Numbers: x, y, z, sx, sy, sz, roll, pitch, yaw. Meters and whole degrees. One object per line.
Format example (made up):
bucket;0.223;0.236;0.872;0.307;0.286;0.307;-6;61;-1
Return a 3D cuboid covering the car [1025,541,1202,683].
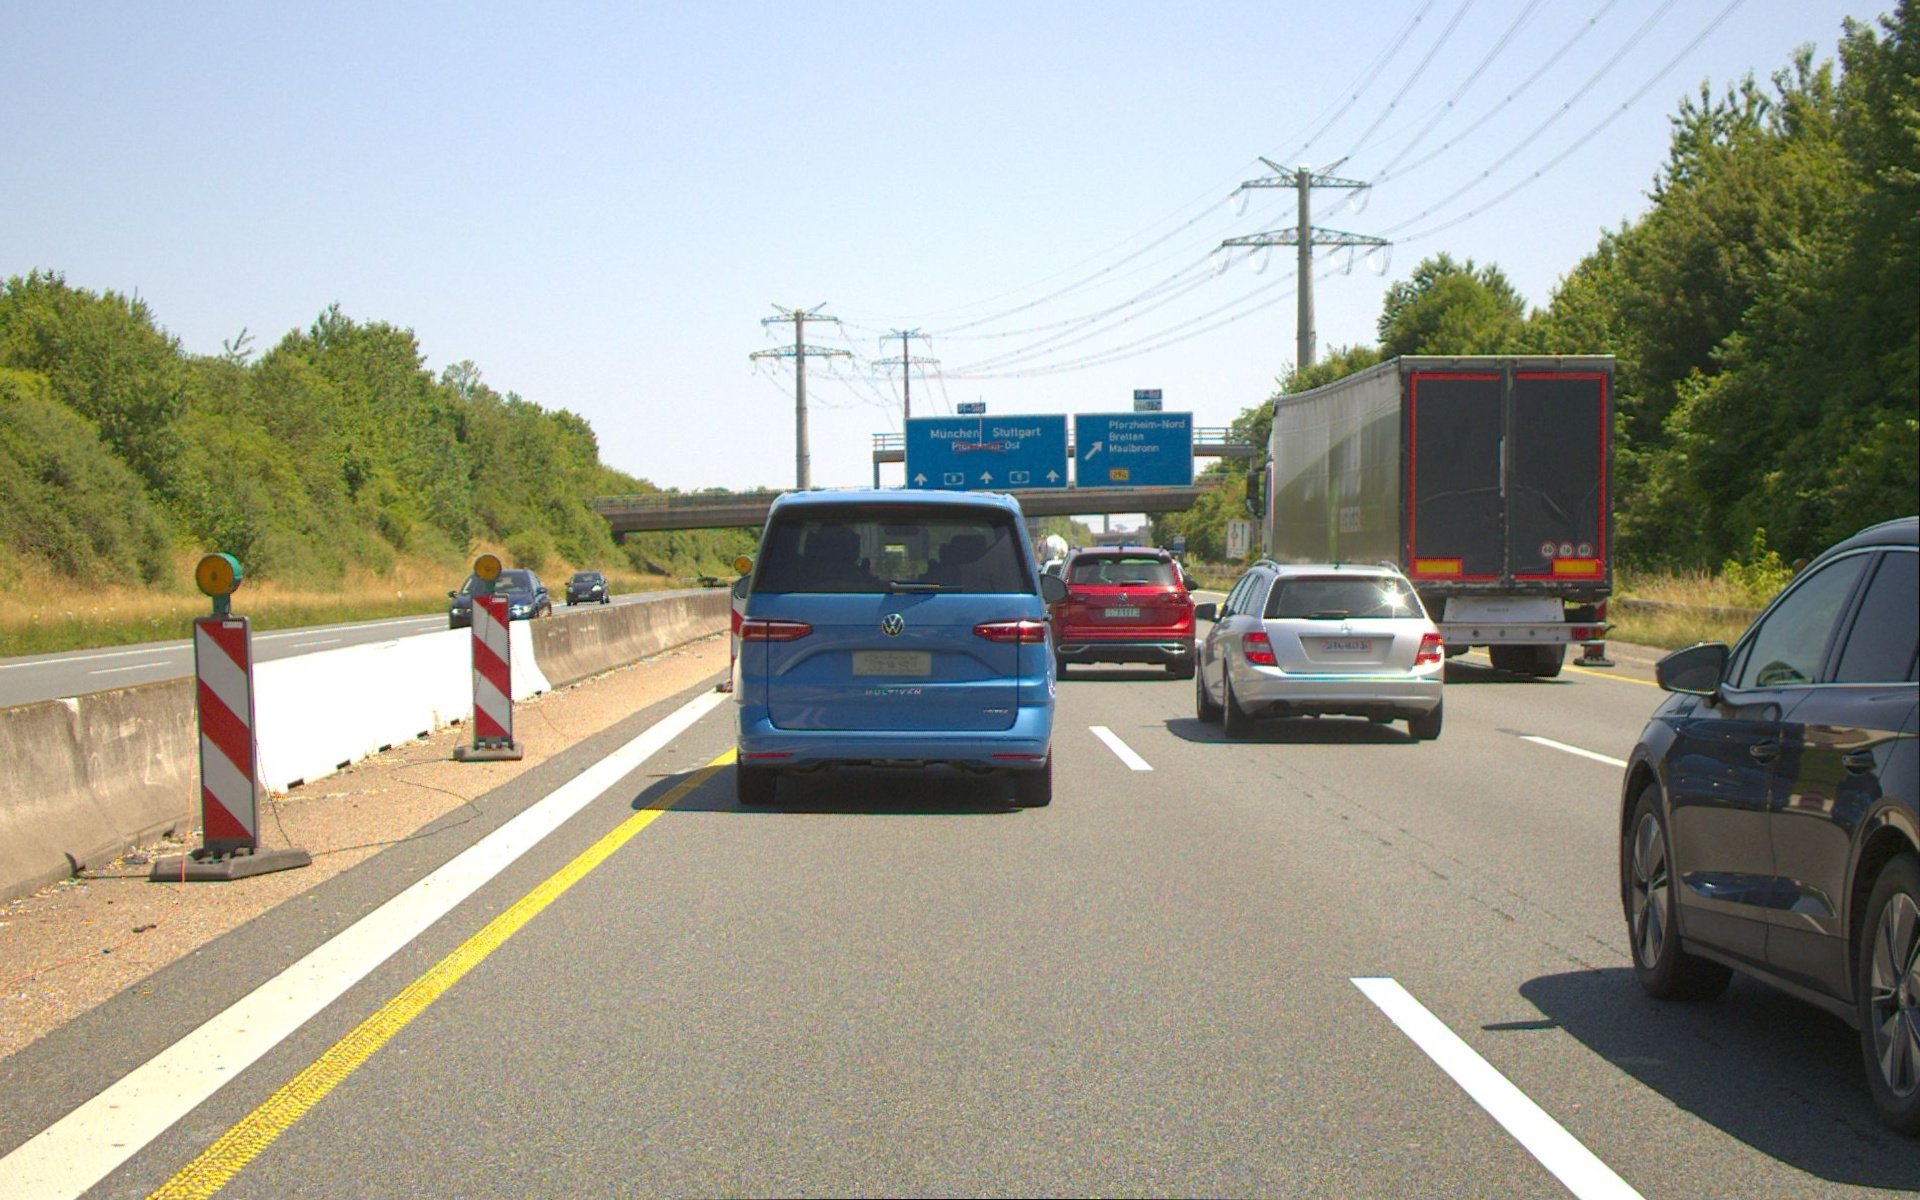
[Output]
car;1.873;0.122;43.133;1.874;1.665;4.360;1;1;-2

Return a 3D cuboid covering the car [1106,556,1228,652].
car;3.612;0.047;60.614;1.797;1.588;4.227;1;1;-1

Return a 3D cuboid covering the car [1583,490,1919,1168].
car;3.143;0.553;9.979;1.700;1.649;4.430;1;1;-2

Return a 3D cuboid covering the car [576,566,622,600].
car;-16.144;-0.772;153.803;1.708;1.459;3.850;-2;1;-2

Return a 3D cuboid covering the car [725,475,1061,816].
car;-0.447;0.239;21.721;1.874;1.905;4.360;1;1;-2

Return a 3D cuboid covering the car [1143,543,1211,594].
car;6.415;-0.945;102.089;1.701;1.443;3.788;1;1;-1

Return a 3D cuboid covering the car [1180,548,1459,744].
car;2.971;0.342;29.269;1.770;1.512;4.360;1;1;-2

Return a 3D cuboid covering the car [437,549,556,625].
car;-9.597;-0.301;71.431;1.862;1.485;4.493;-1;1;0

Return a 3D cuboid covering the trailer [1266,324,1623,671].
trailer;6.276;-1.273;46.945;2.783;4.033;13.112;1;1;-1

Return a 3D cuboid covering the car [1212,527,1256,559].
car;14.785;-3.046;185.706;1.874;1.665;4.360;1;1;-2

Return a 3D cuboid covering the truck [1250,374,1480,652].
truck;6.199;-1.308;53.432;2.733;4.033;5.794;1;1;-1
